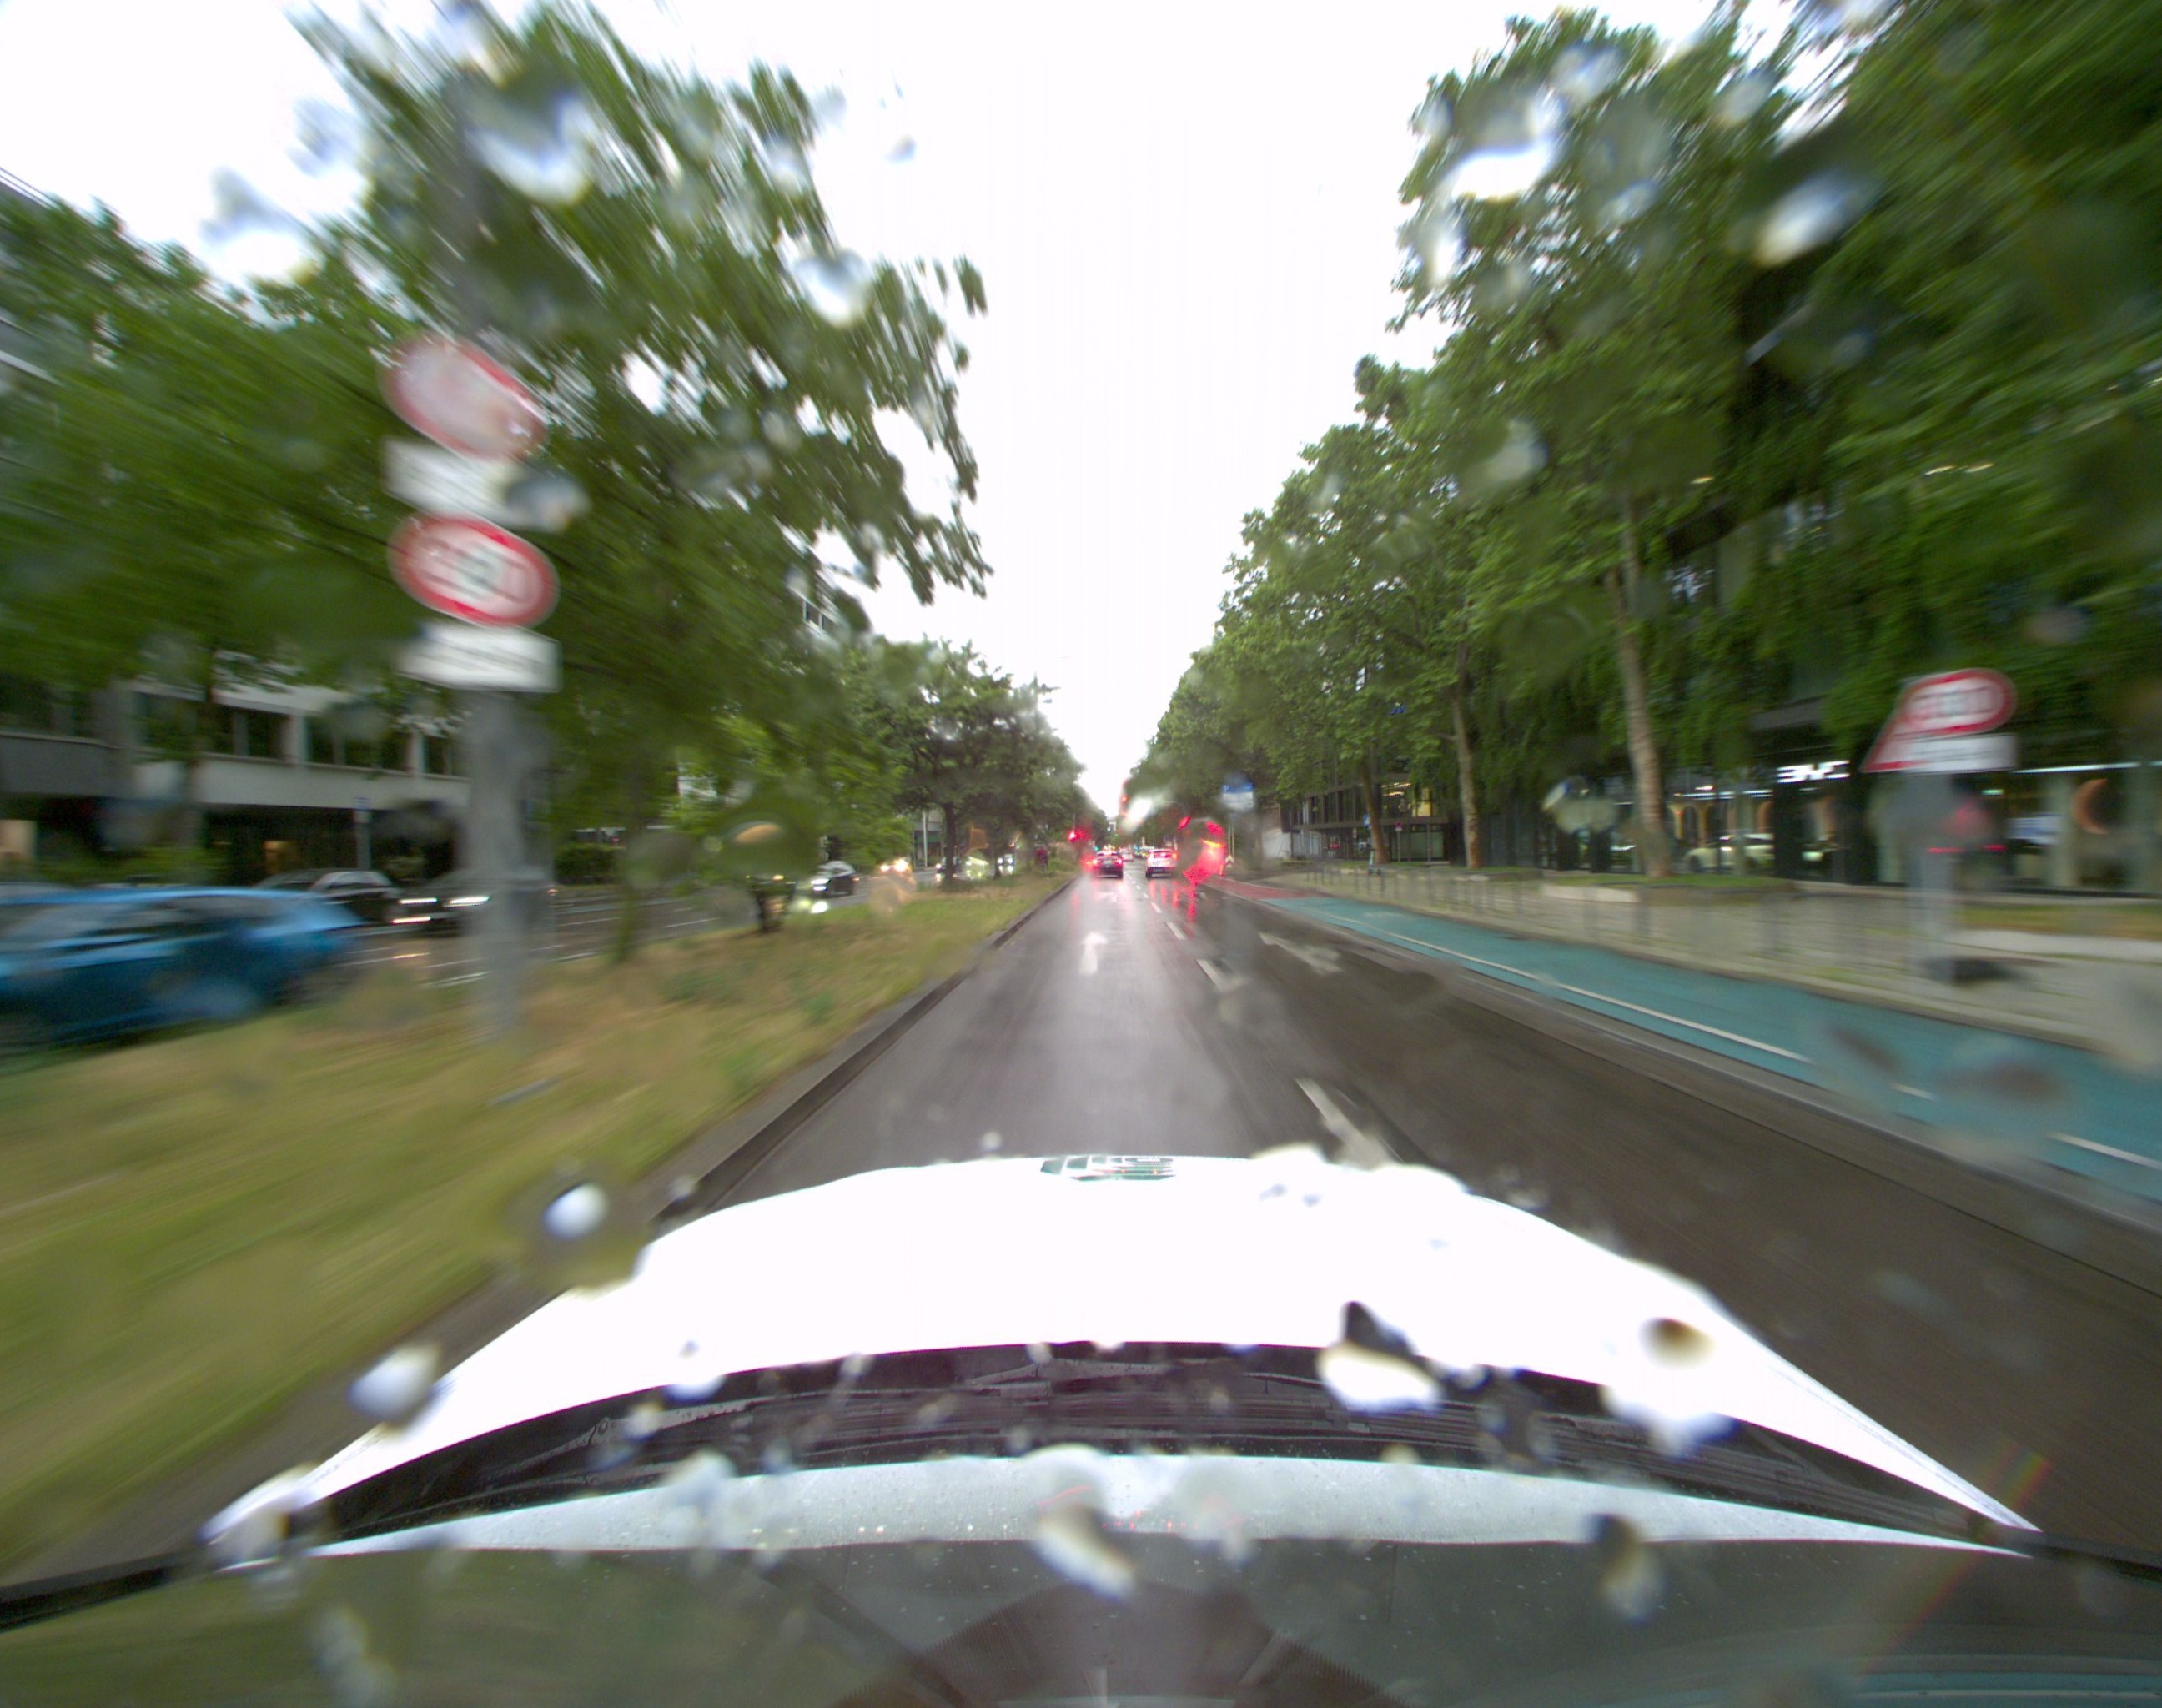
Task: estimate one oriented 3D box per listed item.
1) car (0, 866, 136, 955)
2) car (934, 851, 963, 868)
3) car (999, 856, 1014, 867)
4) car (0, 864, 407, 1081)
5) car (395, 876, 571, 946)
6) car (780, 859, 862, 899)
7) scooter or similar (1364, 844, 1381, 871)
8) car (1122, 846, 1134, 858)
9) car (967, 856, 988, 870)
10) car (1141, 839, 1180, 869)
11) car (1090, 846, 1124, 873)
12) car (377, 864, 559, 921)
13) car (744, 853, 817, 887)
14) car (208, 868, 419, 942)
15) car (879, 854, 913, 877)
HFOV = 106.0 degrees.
[{"bbox_3d":[-18.696,0.989,13.085,1.687,1.409,4.458,-1,1,1],"label":"car"},{"bbox_3d":[-11.786,0.467,72.760,1.836,1.389,4.001,-2,0,1],"label":"car"},{"bbox_3d":[-10.030,1.053,110.149,1.608,1.394,3.598,-1,-1,1],"label":"car"},{"bbox_3d":[-8.988,0.930,7.467,1.836,1.481,4.398,0,2,1],"label":"car"},{"bbox_3d":[-13.853,1.270,19.084,1.712,1.367,3.050,-2,0,3],"label":"car"},{"bbox_3d":[-10.406,0.969,32.895,1.741,1.476,4.101,0,0,4],"label":"car"},{"bbox_3d":[13.220,0.153,36.939,0.377,1.228,1.086,-1,0,38],"label":"scooter or similar"},{"bbox_3d":[7.185,-0.344,124.621,1.614,1.666,4.002,-2,1,2],"label":"car"},{"bbox_3d":[-11.123,0.941,87.913,1.608,1.394,4.186,-1,1,1],"label":"car"},{"bbox_3d":[4.676,-0.063,48.575,1.986,1.655,4.891,-1,1,1],"label":"car"},{"bbox_3d":[1.547,0.283,48.548,1.911,1.491,4.001,-2,0,1],"label":"car"},{"bbox_3d":[-18.497,1.089,24.934,1.687,1.409,4.906,-1,1,1],"label":"car"},{"bbox_3d":[-13.622,0.685,37.167,1.837,1.429,3.644,-2,0,1],"label":"car"},{"bbox_3d":[-18.312,1.144,19.669,1.687,1.468,3.461,-1,1,1],"label":"car"},{"bbox_3d":[-12.678,0.781,55.945,1.488,1.463,2.734,-2,1,3],"label":"car"}]
